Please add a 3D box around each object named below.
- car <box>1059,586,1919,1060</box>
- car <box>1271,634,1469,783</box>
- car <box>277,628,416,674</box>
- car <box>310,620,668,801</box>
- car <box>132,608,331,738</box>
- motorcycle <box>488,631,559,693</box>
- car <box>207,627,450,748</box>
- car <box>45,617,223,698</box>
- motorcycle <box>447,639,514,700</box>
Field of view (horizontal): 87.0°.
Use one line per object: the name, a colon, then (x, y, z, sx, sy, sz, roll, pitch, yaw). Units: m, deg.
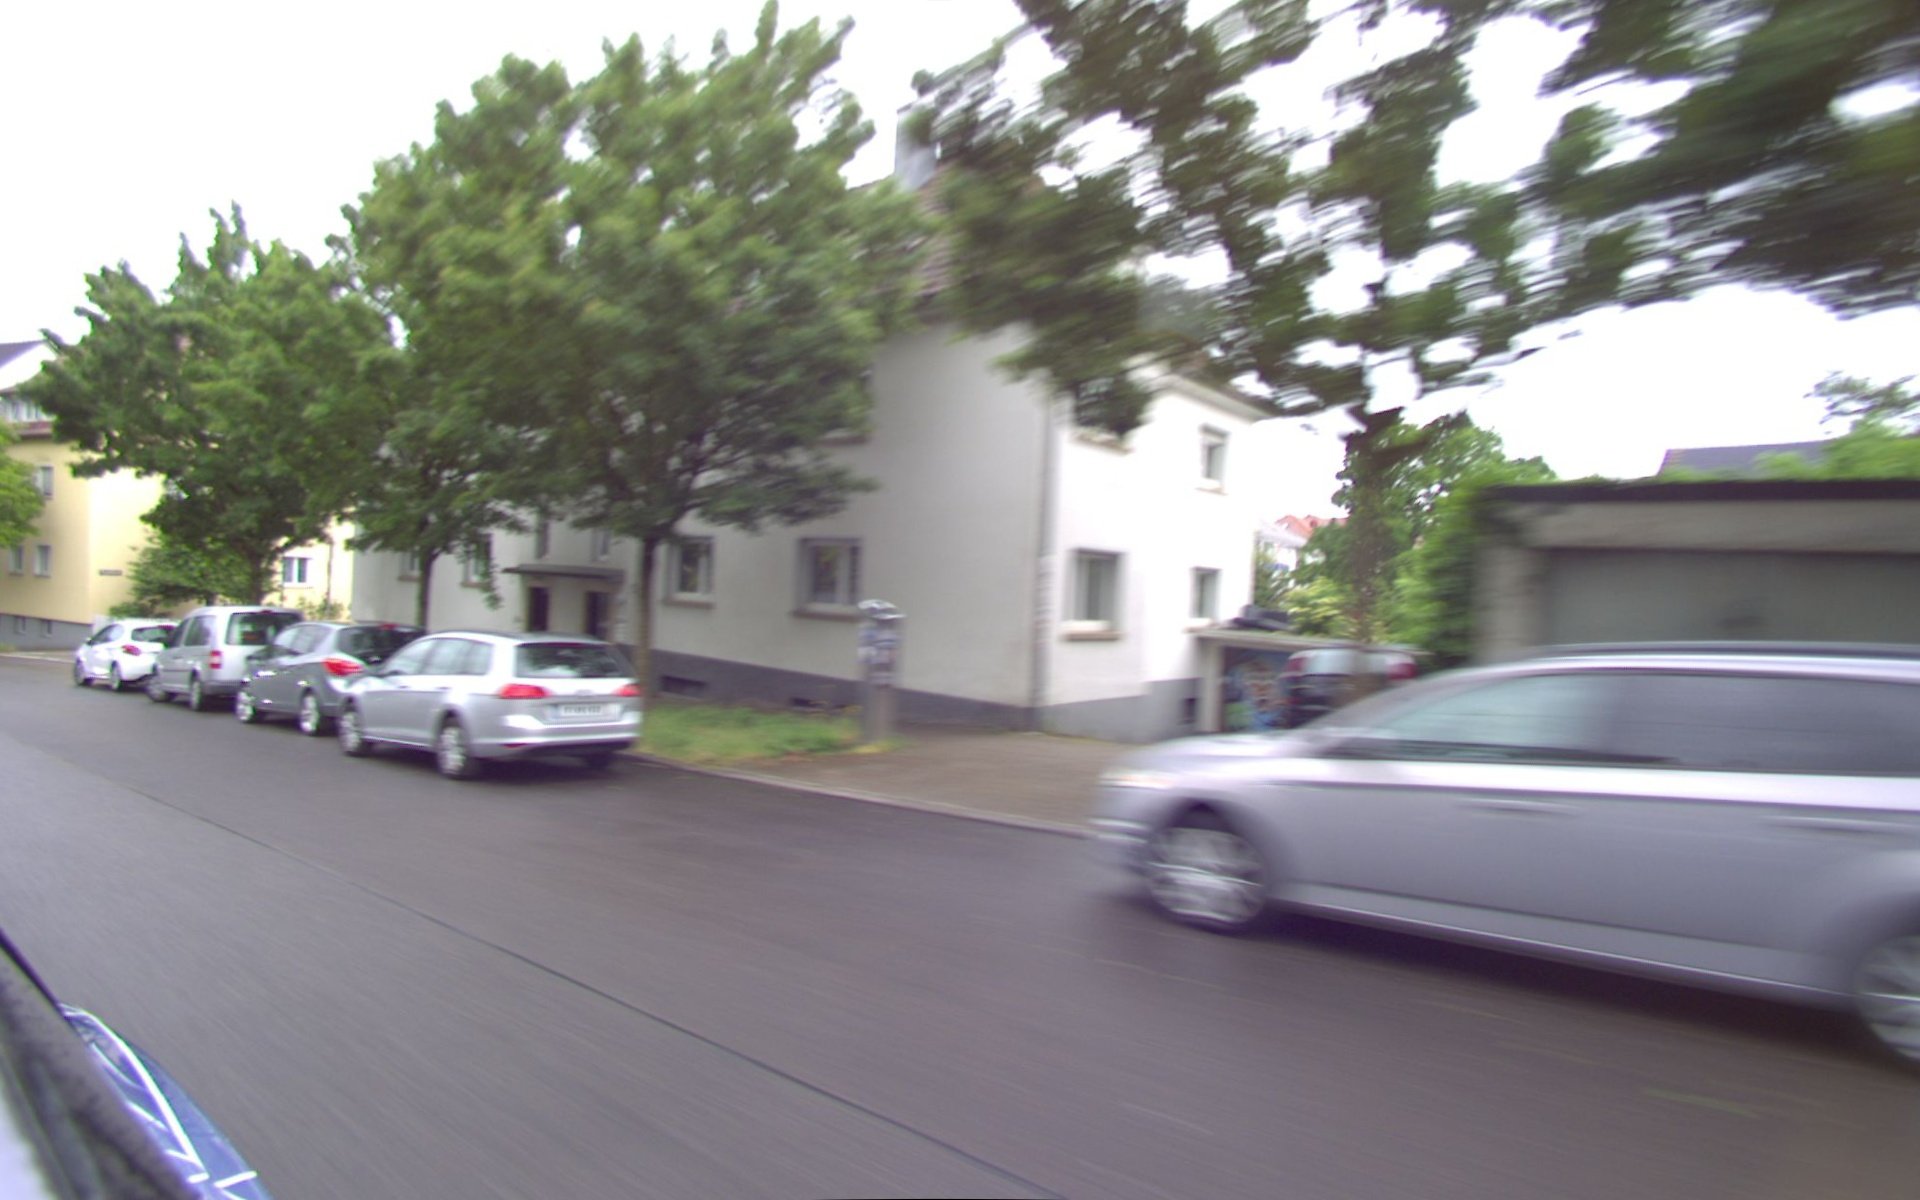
car: (2.951, 0.809, 4.734, 4.795, 1.564, 1.786, -2, -4, 40)
car: (5.639, 1.527, 13.647, 1.793, 1.555, 3.663, -1, -11, 33)
car: (-23.083, 1.952, 38.233, 1.989, 1.455, 3.965, 1, -5, 25)
car: (-5.348, 1.031, 11.215, 4.592, 1.464, 1.787, 1, 1, 39)
car: (-13.566, 1.214, 18.743, 4.544, 2.016, 1.895, 1, 1, 39)
motorcycle: (-8.027, 1.118, 18.582, 1.617, 1.107, 0.407, -1, -2, 35)
car: (-9.754, 1.237, 15.516, 4.230, 1.497, 1.787, 1, -2, 38)
car: (-18.415, 1.238, 22.518, 4.333, 1.526, 1.770, 1, -2, 33)
motorcycle: (-9.321, 1.327, 19.657, 1.617, 1.129, 0.426, -1, -2, 35)
